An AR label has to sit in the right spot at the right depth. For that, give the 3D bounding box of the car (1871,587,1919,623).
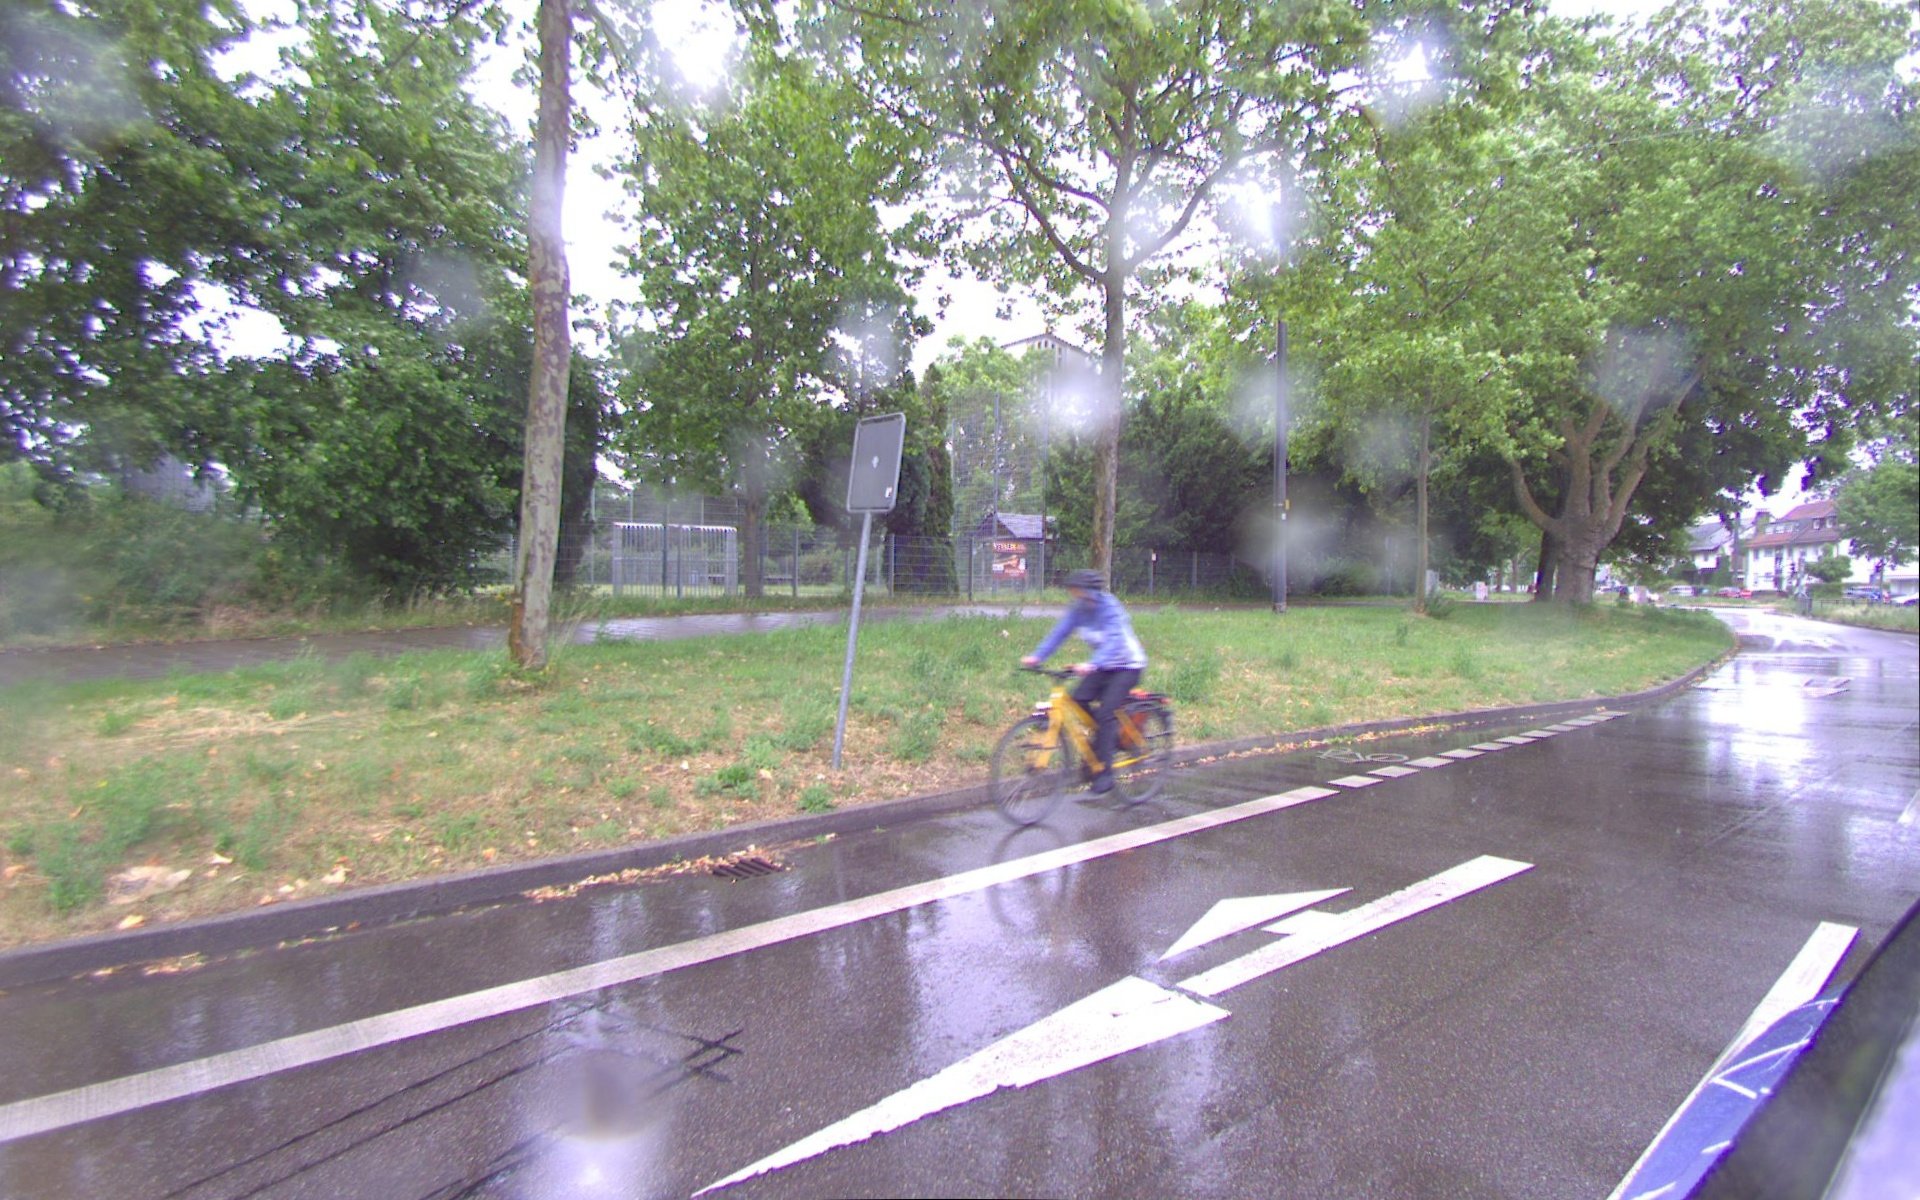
[{"bbox_3d":[39.359,0.176,40.605,4.025,1.438,1.652,0,0,39],"label":"car"}]

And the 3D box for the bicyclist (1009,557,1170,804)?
[{"bbox_3d":[0.866,0.485,6.775,0.829,1.525,0.692,-1,1,-41],"label":"bicyclist"}]

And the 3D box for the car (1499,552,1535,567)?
[{"bbox_3d":[73.782,-5.333,134.106,3.958,1.850,1.983,0,0,25],"label":"car"}]

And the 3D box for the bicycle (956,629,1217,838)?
[{"bbox_3d":[0.894,0.806,6.803,1.853,1.131,0.692,-1,1,-42],"label":"bicycle"}]

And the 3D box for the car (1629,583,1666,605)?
[{"bbox_3d":[54.362,-0.479,80.097,1.855,1.638,3.775,0,0,26],"label":"car"}]
